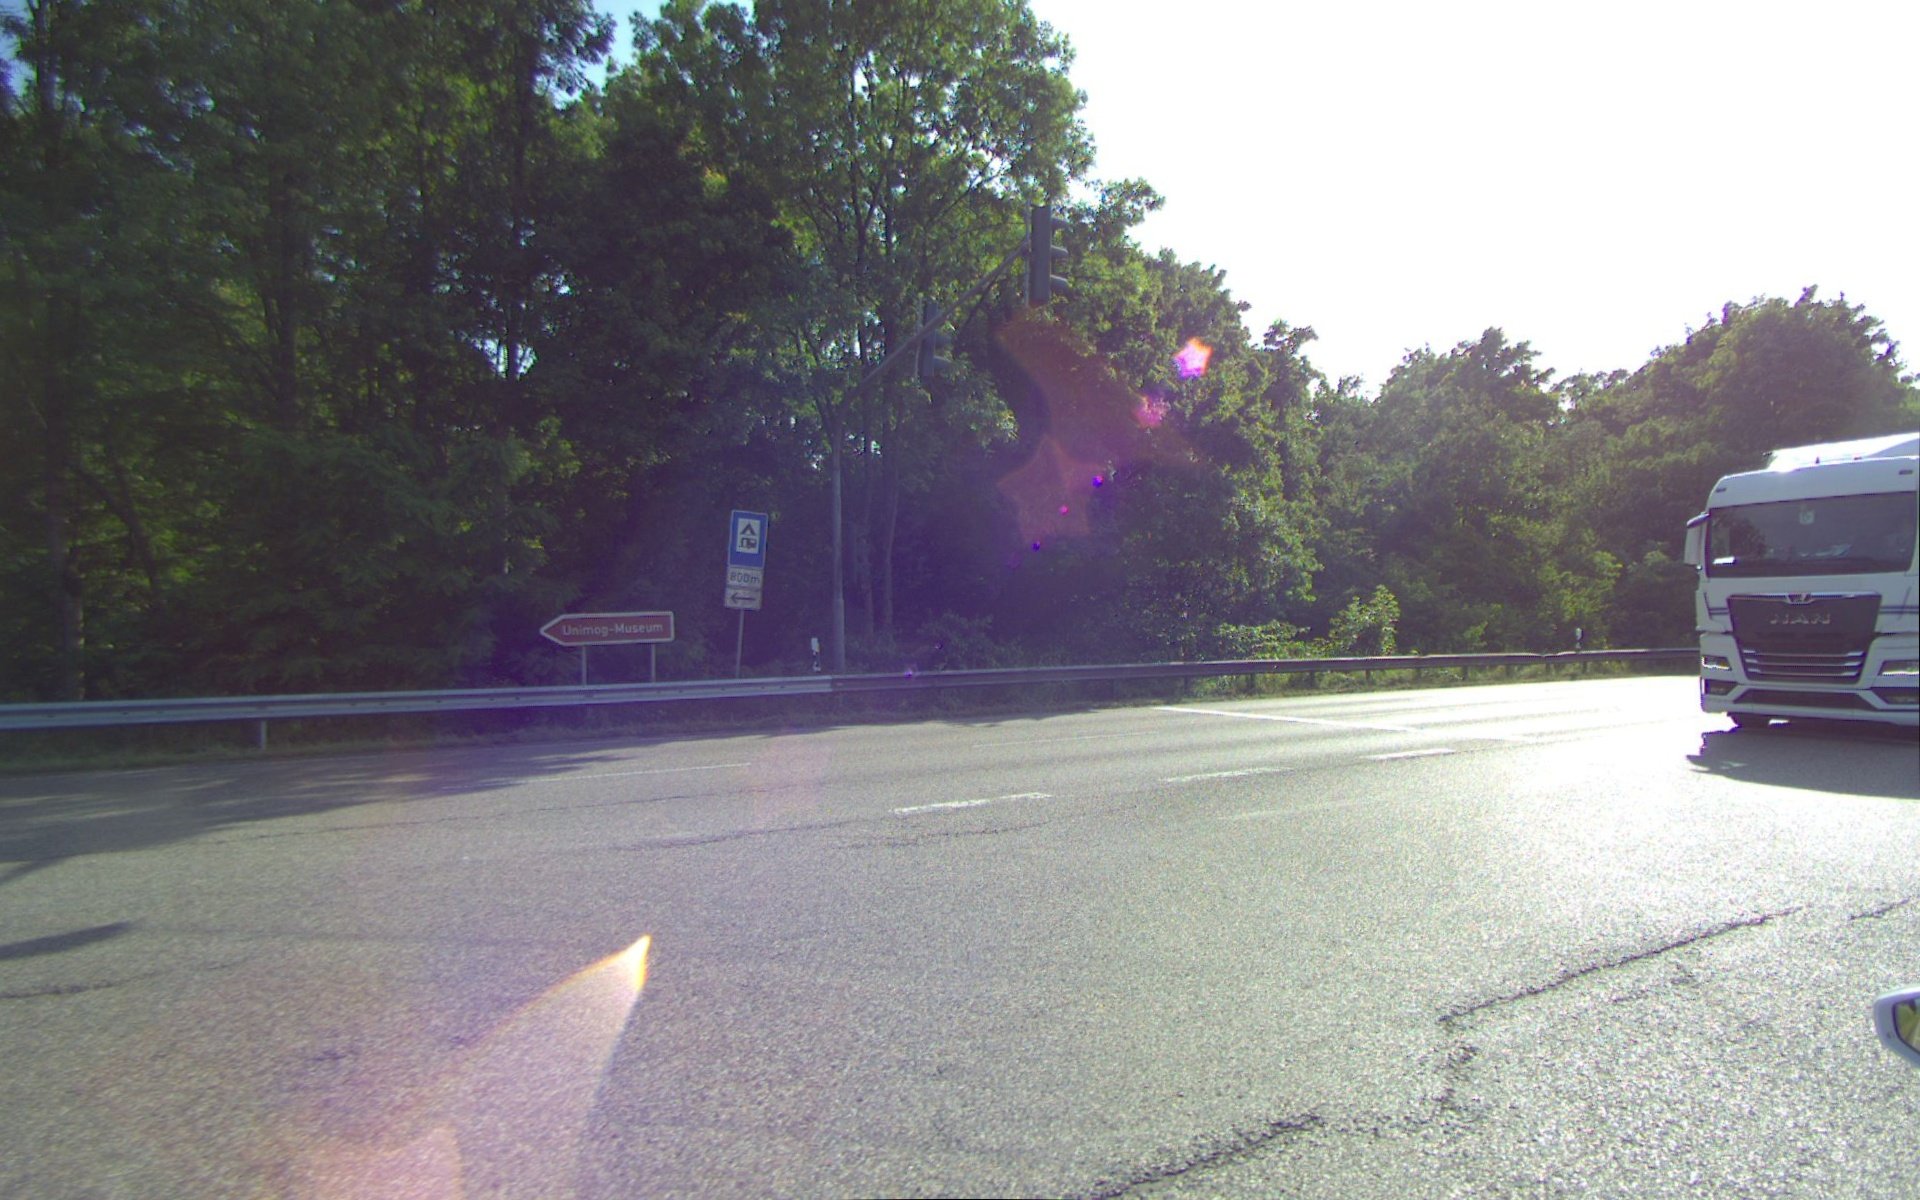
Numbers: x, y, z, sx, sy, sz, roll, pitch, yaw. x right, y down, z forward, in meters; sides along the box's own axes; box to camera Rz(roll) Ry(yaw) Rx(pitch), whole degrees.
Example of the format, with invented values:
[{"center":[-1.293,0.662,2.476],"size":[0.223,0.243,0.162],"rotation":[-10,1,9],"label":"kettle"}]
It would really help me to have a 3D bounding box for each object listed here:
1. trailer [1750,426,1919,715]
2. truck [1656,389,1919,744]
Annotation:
[{"center":[19.031,-0.376,18.229],"size":[13.859,4.049,2.975],"rotation":[0,0,-33],"label":"trailer"},{"center":[13.065,-0.355,14.337],"size":[6.648,4.050,2.874],"rotation":[0,0,-33],"label":"truck"}]
